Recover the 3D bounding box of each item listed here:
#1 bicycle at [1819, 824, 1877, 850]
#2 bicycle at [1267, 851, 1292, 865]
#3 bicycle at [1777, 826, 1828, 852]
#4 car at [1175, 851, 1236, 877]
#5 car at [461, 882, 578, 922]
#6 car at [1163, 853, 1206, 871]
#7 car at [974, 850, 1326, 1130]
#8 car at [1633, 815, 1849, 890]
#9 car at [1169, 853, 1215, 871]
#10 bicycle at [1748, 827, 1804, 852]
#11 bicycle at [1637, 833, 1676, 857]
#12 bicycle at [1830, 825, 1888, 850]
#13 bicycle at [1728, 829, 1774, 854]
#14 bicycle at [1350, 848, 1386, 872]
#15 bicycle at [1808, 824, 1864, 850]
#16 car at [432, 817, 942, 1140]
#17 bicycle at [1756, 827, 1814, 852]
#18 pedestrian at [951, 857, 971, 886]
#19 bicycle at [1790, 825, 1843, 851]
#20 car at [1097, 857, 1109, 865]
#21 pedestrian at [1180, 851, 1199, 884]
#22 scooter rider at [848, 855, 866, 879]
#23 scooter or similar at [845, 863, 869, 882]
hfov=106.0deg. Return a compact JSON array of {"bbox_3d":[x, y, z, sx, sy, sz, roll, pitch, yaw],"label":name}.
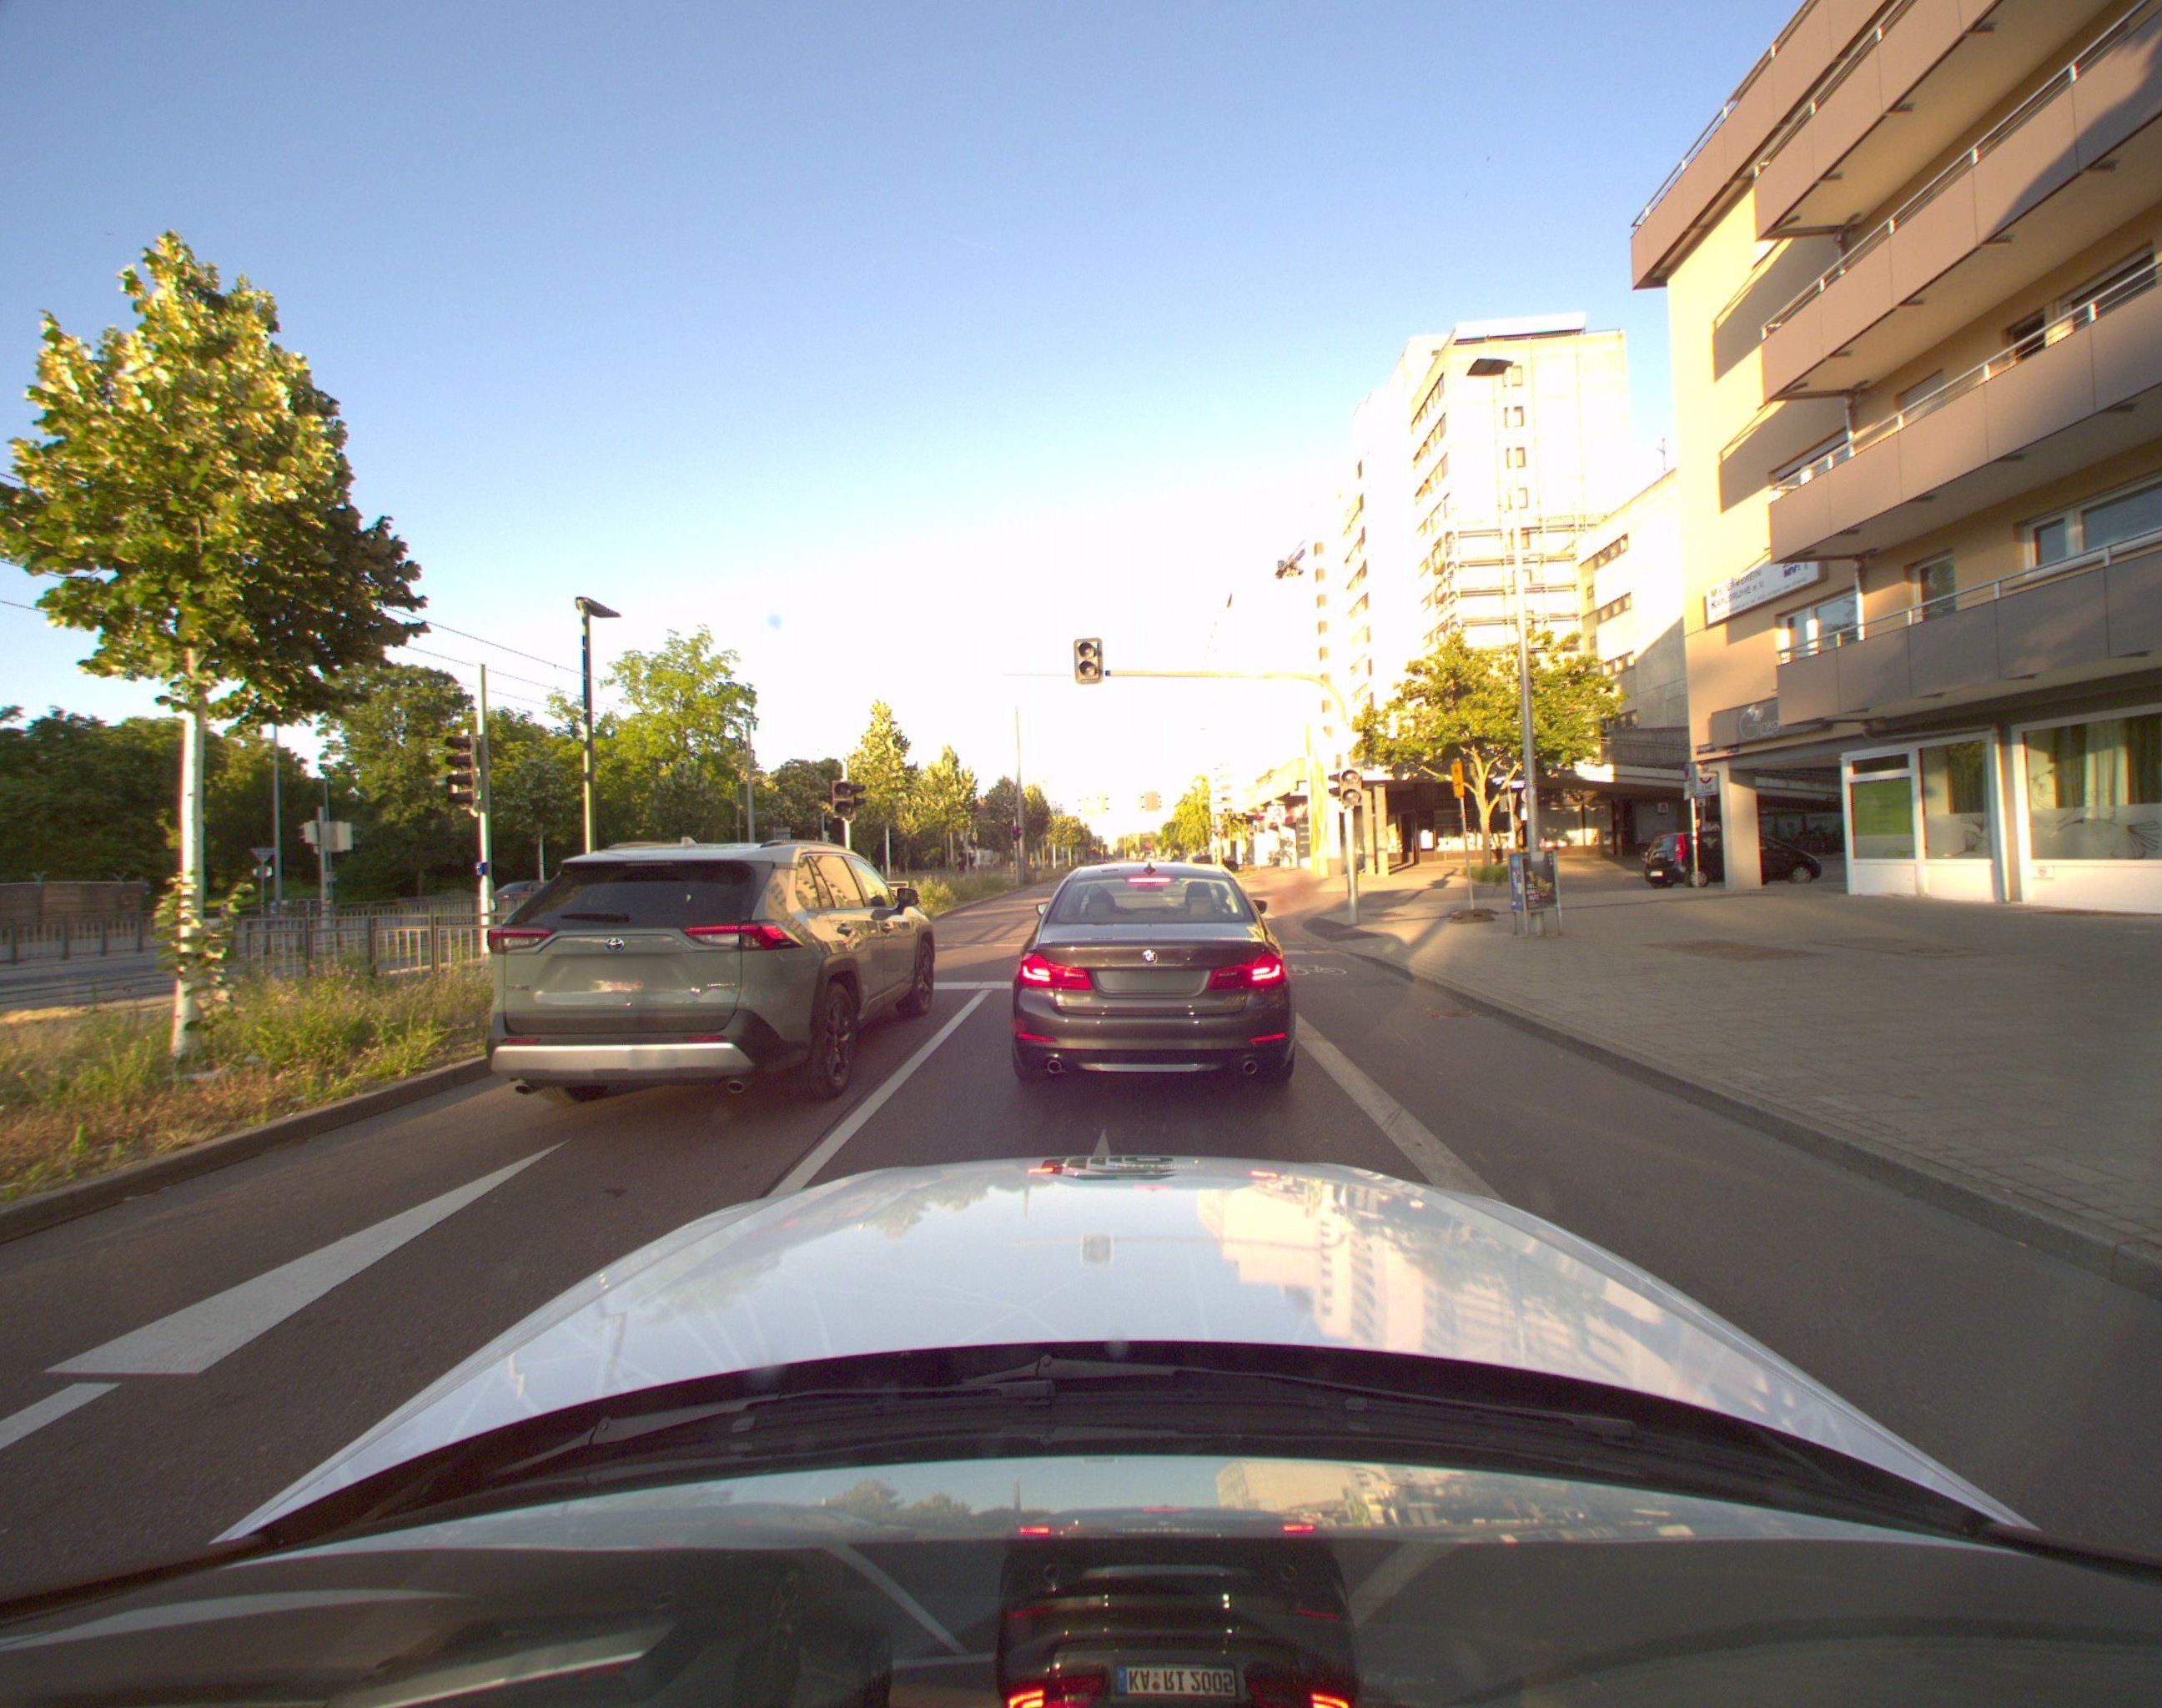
[{"bbox_3d":[34.659,-0.755,36.820,0.580,1.075,1.971,1,-1,-9],"label":"bicycle"},{"bbox_3d":[16.766,0.376,68.732,2.005,1.149,0.692,0,-1,8],"label":"bicycle"},{"bbox_3d":[32.896,-0.669,37.173,0.579,1.075,1.976,1,-1,-1],"label":"bicycle"},{"bbox_3d":[8.669,0.639,56.541,4.291,1.658,1.839,-2,1,-40],"label":"car"},{"bbox_3d":[-26.163,2.193,38.186,1.983,1.481,4.531,-1,1,6],"label":"car"},{"bbox_3d":[10.812,0.820,85.068,4.284,1.658,1.841,-2,1,-33],"label":"car"},{"bbox_3d":[0.511,0.748,6.774,1.924,1.481,4.527,-1,1,3],"label":"car"},{"bbox_3d":[17.175,0.000,21.380,4.020,1.585,1.708,-4,-4,6],"label":"car"},{"bbox_3d":[10.744,0.763,79.004,4.285,1.658,1.841,-2,1,-34],"label":"car"},{"bbox_3d":[31.821,-0.638,37.332,0.582,1.075,1.966,1,-1,-17],"label":"bicycle"},{"bbox_3d":[26.980,-0.393,38.220,0.578,1.075,1.980,1,-1,5],"label":"bicycle"},{"bbox_3d":[35.287,-0.732,36.975,0.580,1.075,1.971,1,-1,-9],"label":"bicycle"},{"bbox_3d":[30.293,-0.555,36.871,0.578,1.075,1.980,1,-1,5],"label":"bicycle"},{"bbox_3d":[14.482,0.309,41.140,0.690,1.149,2.012,1,-1,-16],"label":"bicycle"},{"bbox_3d":[34.044,-0.755,36.751,0.579,1.075,1.974,1,-1,-4],"label":"bicycle"},{"bbox_3d":[-2.420,0.618,6.397,1.848,1.658,4.269,-1,1,1],"label":"car"},{"bbox_3d":[32.298,-0.654,37.390,0.583,1.075,1.963,1,-1,-21],"label":"bicycle"},{"bbox_3d":[-6.717,0.966,45.660,0.829,1.586,0.815,-3,-1,12],"label":"pedestrian"},{"bbox_3d":[33.456,-0.704,37.075,0.579,1.075,1.976,1,-1,-1],"label":"bicycle"},{"bbox_3d":[3.977,1.248,147.070,1.971,1.433,4.846,-1,1,2],"label":"car"},{"bbox_3d":[5.649,0.705,42.424,0.832,1.712,0.648,-2,-1,1],"label":"pedestrian"},{"bbox_3d":[-14.441,0.812,52.490,0.815,1.514,0.654,-3,-1,9],"label":"scooter rider"},{"bbox_3d":[-14.422,1.186,52.456,1.321,1.153,0.515,-3,-1,9],"label":"scooter or similar"}]
